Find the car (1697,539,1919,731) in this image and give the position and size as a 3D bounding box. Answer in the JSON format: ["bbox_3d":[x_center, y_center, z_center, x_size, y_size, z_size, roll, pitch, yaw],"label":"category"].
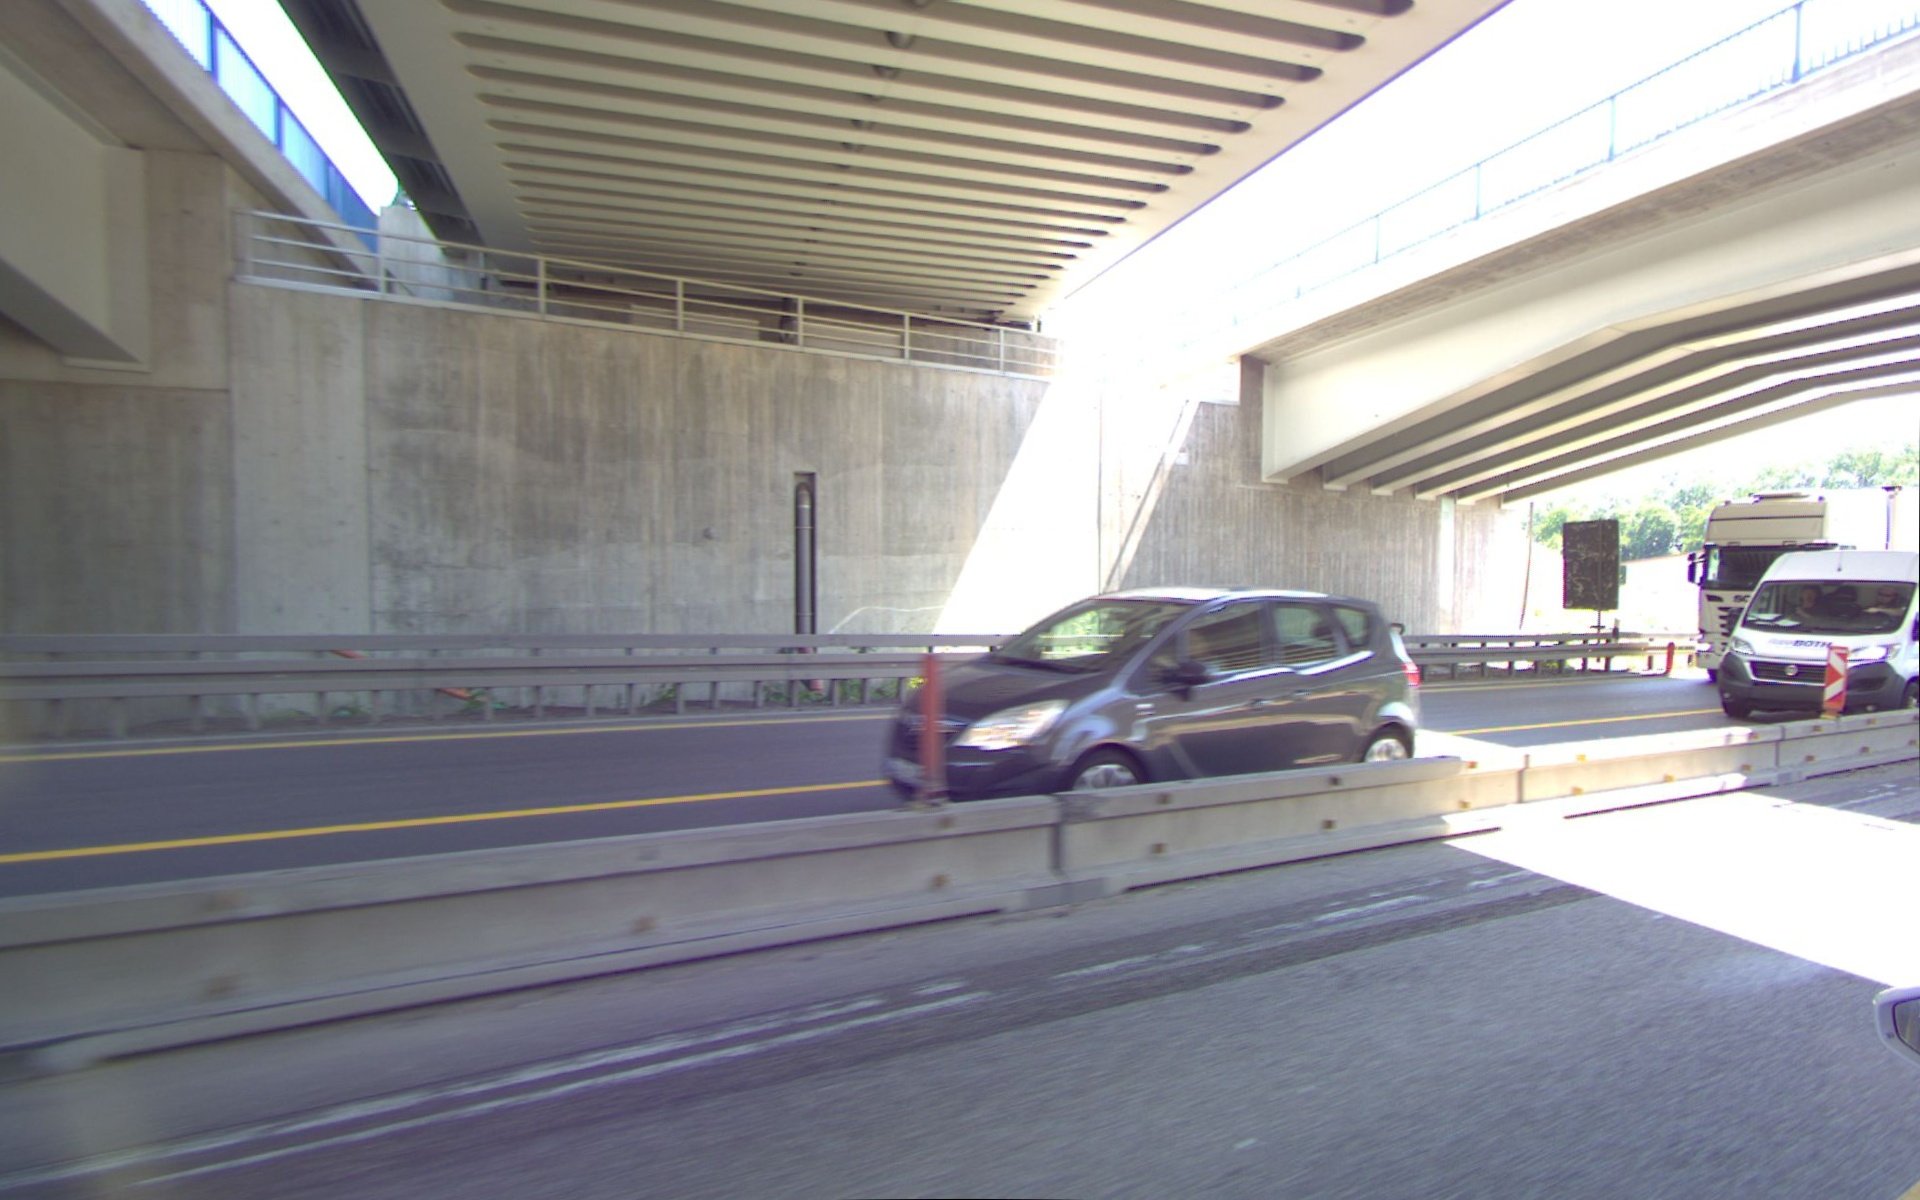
[{"bbox_3d":[13.405,0.490,14.689,5.986,2.361,1.971,2,0,-30],"label":"car"}]

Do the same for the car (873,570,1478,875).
[{"bbox_3d":[1.611,0.691,7.154,4.092,1.631,1.740,2,0,-30],"label":"car"}]

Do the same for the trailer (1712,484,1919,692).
[{"bbox_3d":[23.268,-0.223,25.122,14.216,4.094,2.857,1,2,-36],"label":"trailer"}]

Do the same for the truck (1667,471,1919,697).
[{"bbox_3d":[17.370,-0.319,20.857,4.838,4.106,2.853,1,2,-36],"label":"truck"}]
